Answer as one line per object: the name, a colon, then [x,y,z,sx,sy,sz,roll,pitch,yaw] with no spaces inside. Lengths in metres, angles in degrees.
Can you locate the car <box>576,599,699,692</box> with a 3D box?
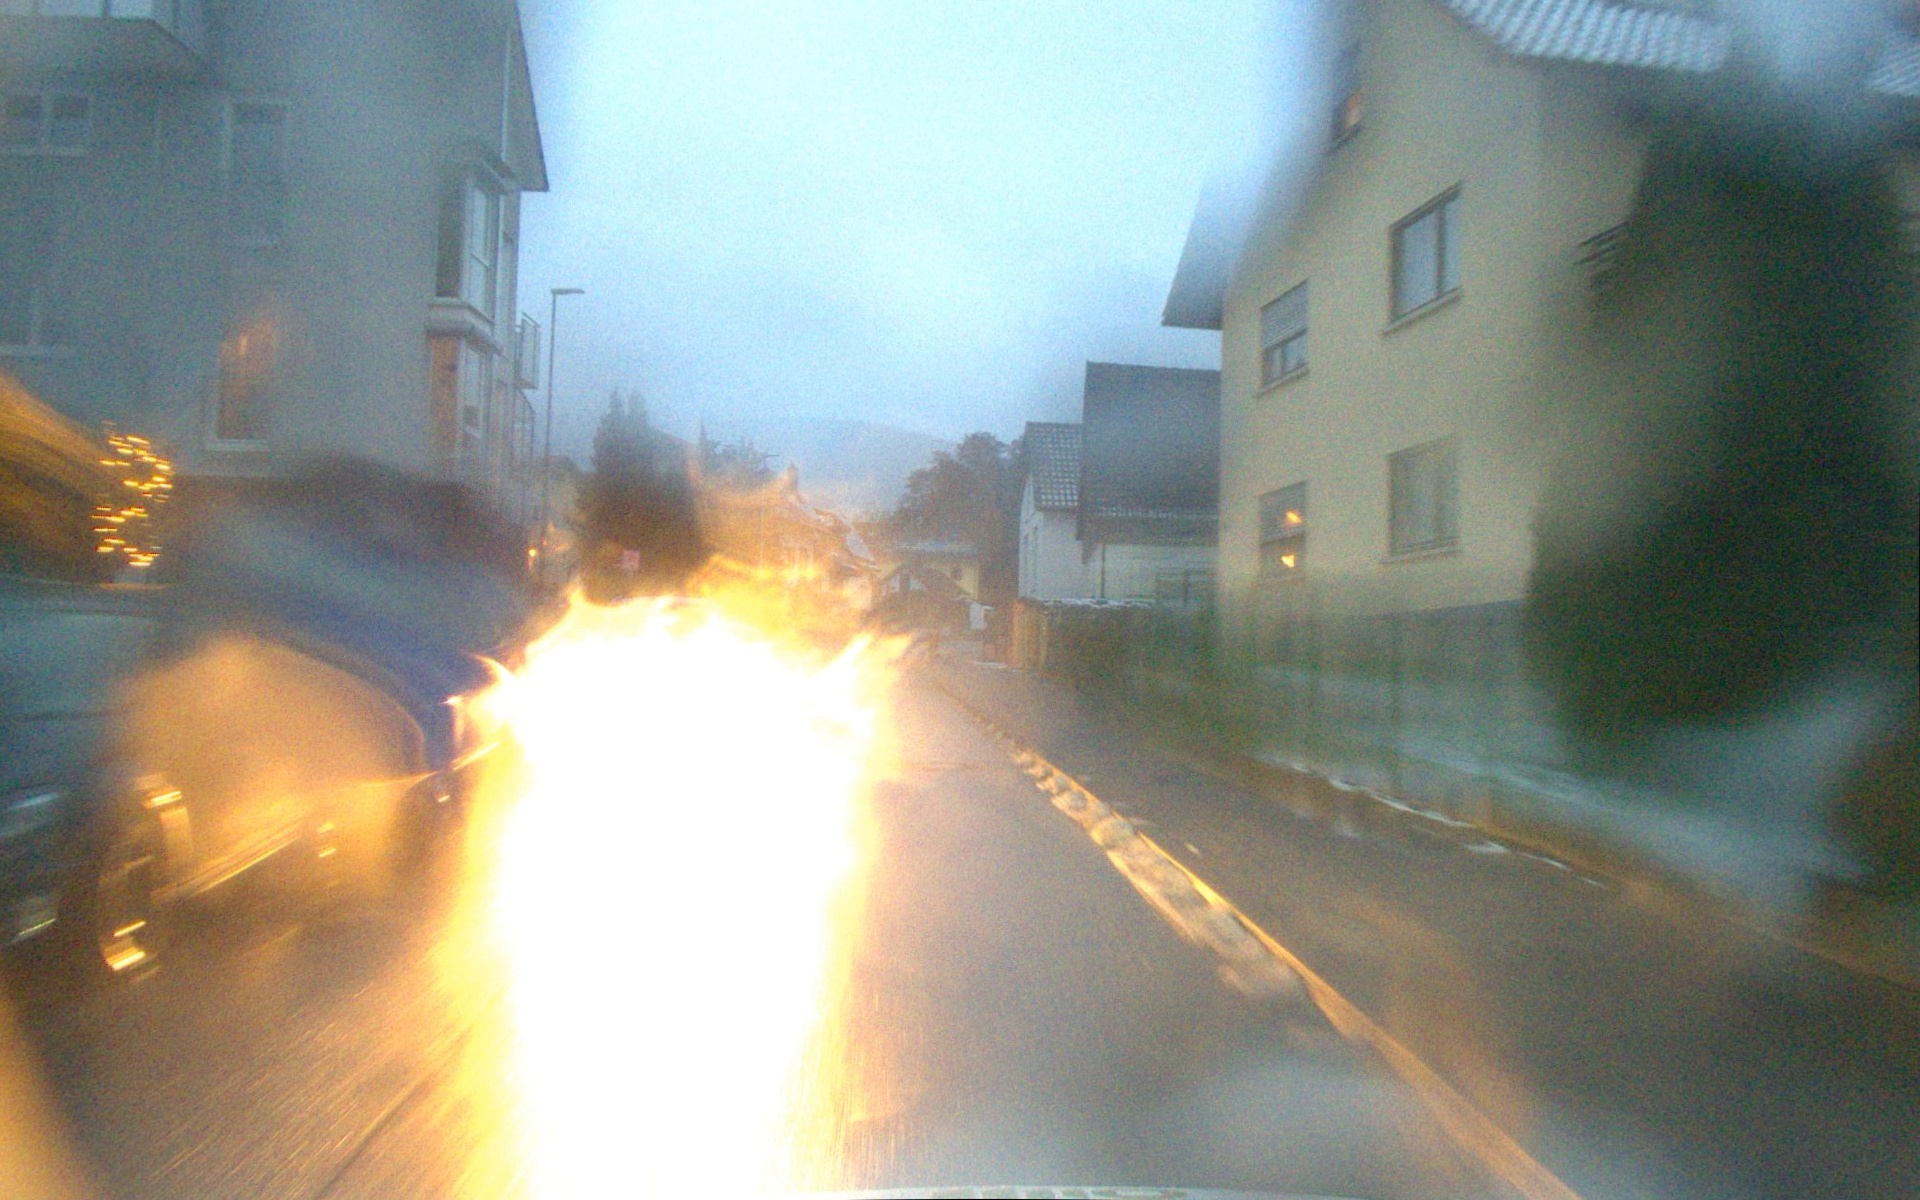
car: [-5.574,0.759,28.922,1.632,1.442,3.687,3,-1,-5]

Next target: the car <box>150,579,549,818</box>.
car: [-4.350,0.621,12.537,1.700,1.469,4.435,1,0,-5]

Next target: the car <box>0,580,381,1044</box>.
car: [-3.963,0.667,7.165,1.699,1.461,4.031,0,0,-4]

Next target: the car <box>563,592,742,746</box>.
car: [-3.490,0.683,18.620,1.742,1.521,4.367,0,0,-12]
